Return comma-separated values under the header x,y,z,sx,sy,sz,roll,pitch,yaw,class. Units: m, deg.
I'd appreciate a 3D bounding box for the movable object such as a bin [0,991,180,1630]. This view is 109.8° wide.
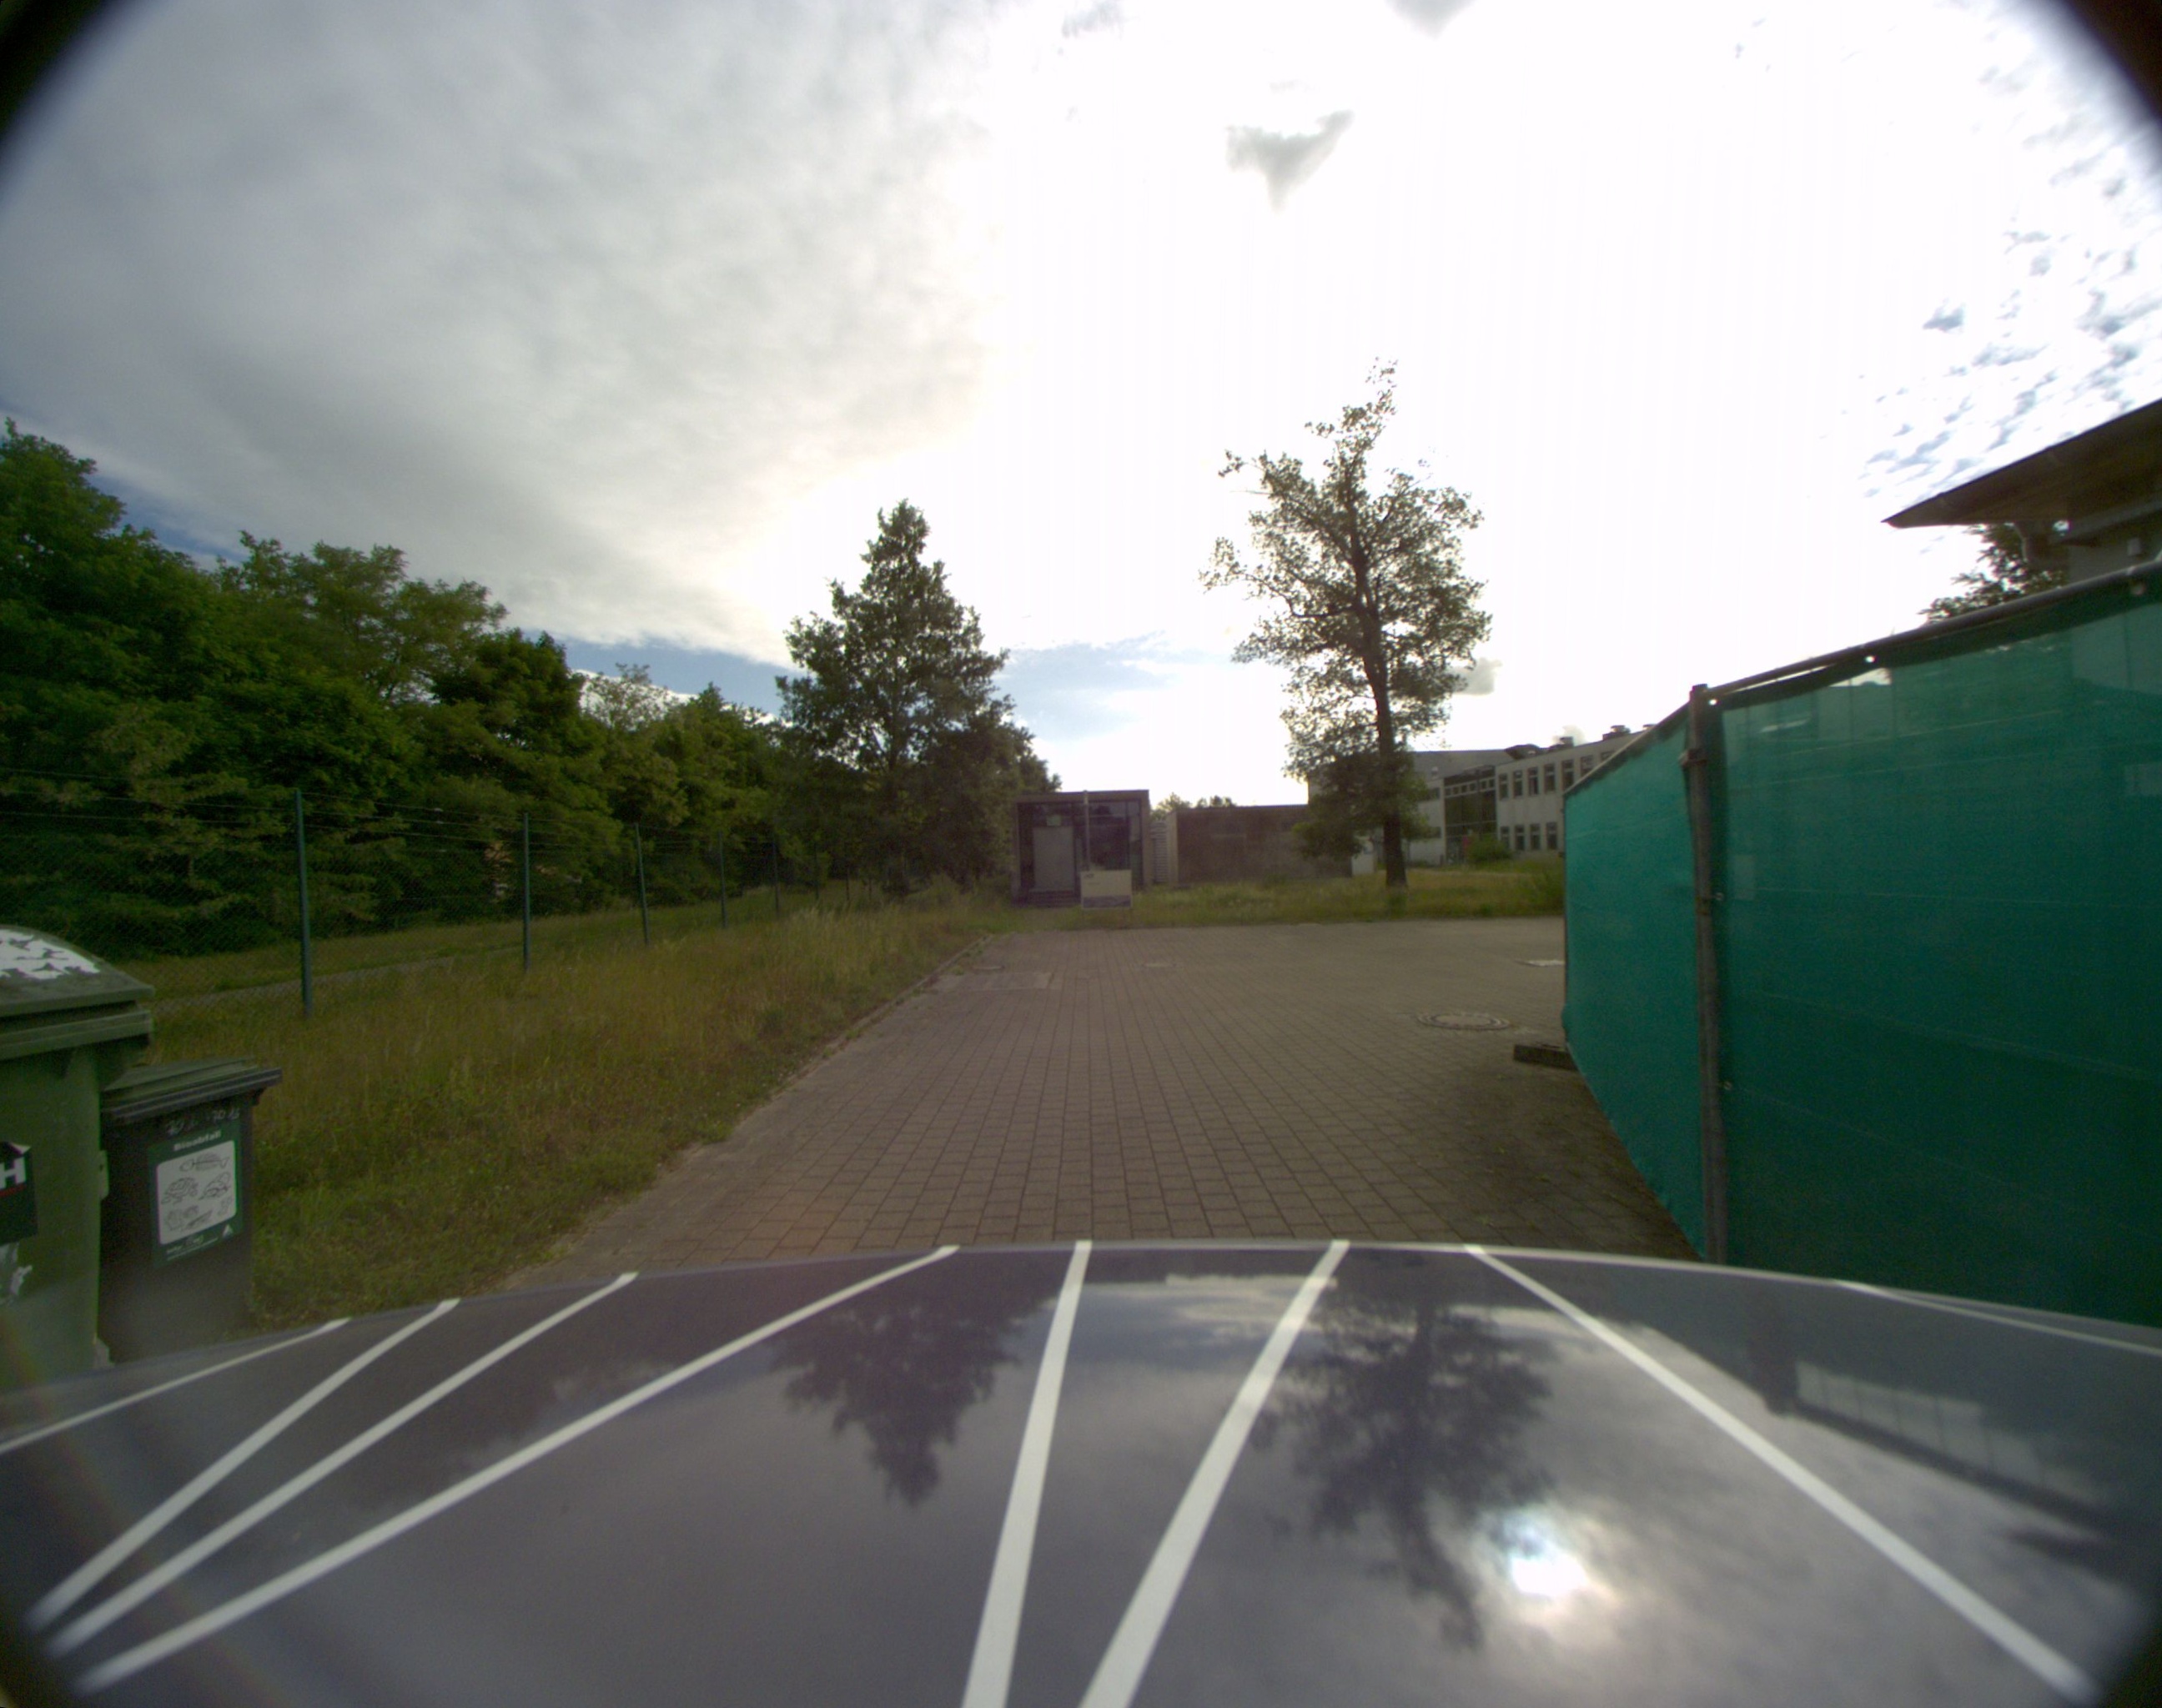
x,y,z,sx,sy,sz,roll,pitch,yaw,class
-3.076,1.080,1.417,1.130,1.387,1.357,-2,1,9,movable object such as a bin

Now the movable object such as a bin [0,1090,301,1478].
x,y,z,sx,sy,sz,roll,pitch,yaw,class
-3.072,1.269,2.391,0.601,0.861,0.586,-2,1,9,movable object such as a bin
